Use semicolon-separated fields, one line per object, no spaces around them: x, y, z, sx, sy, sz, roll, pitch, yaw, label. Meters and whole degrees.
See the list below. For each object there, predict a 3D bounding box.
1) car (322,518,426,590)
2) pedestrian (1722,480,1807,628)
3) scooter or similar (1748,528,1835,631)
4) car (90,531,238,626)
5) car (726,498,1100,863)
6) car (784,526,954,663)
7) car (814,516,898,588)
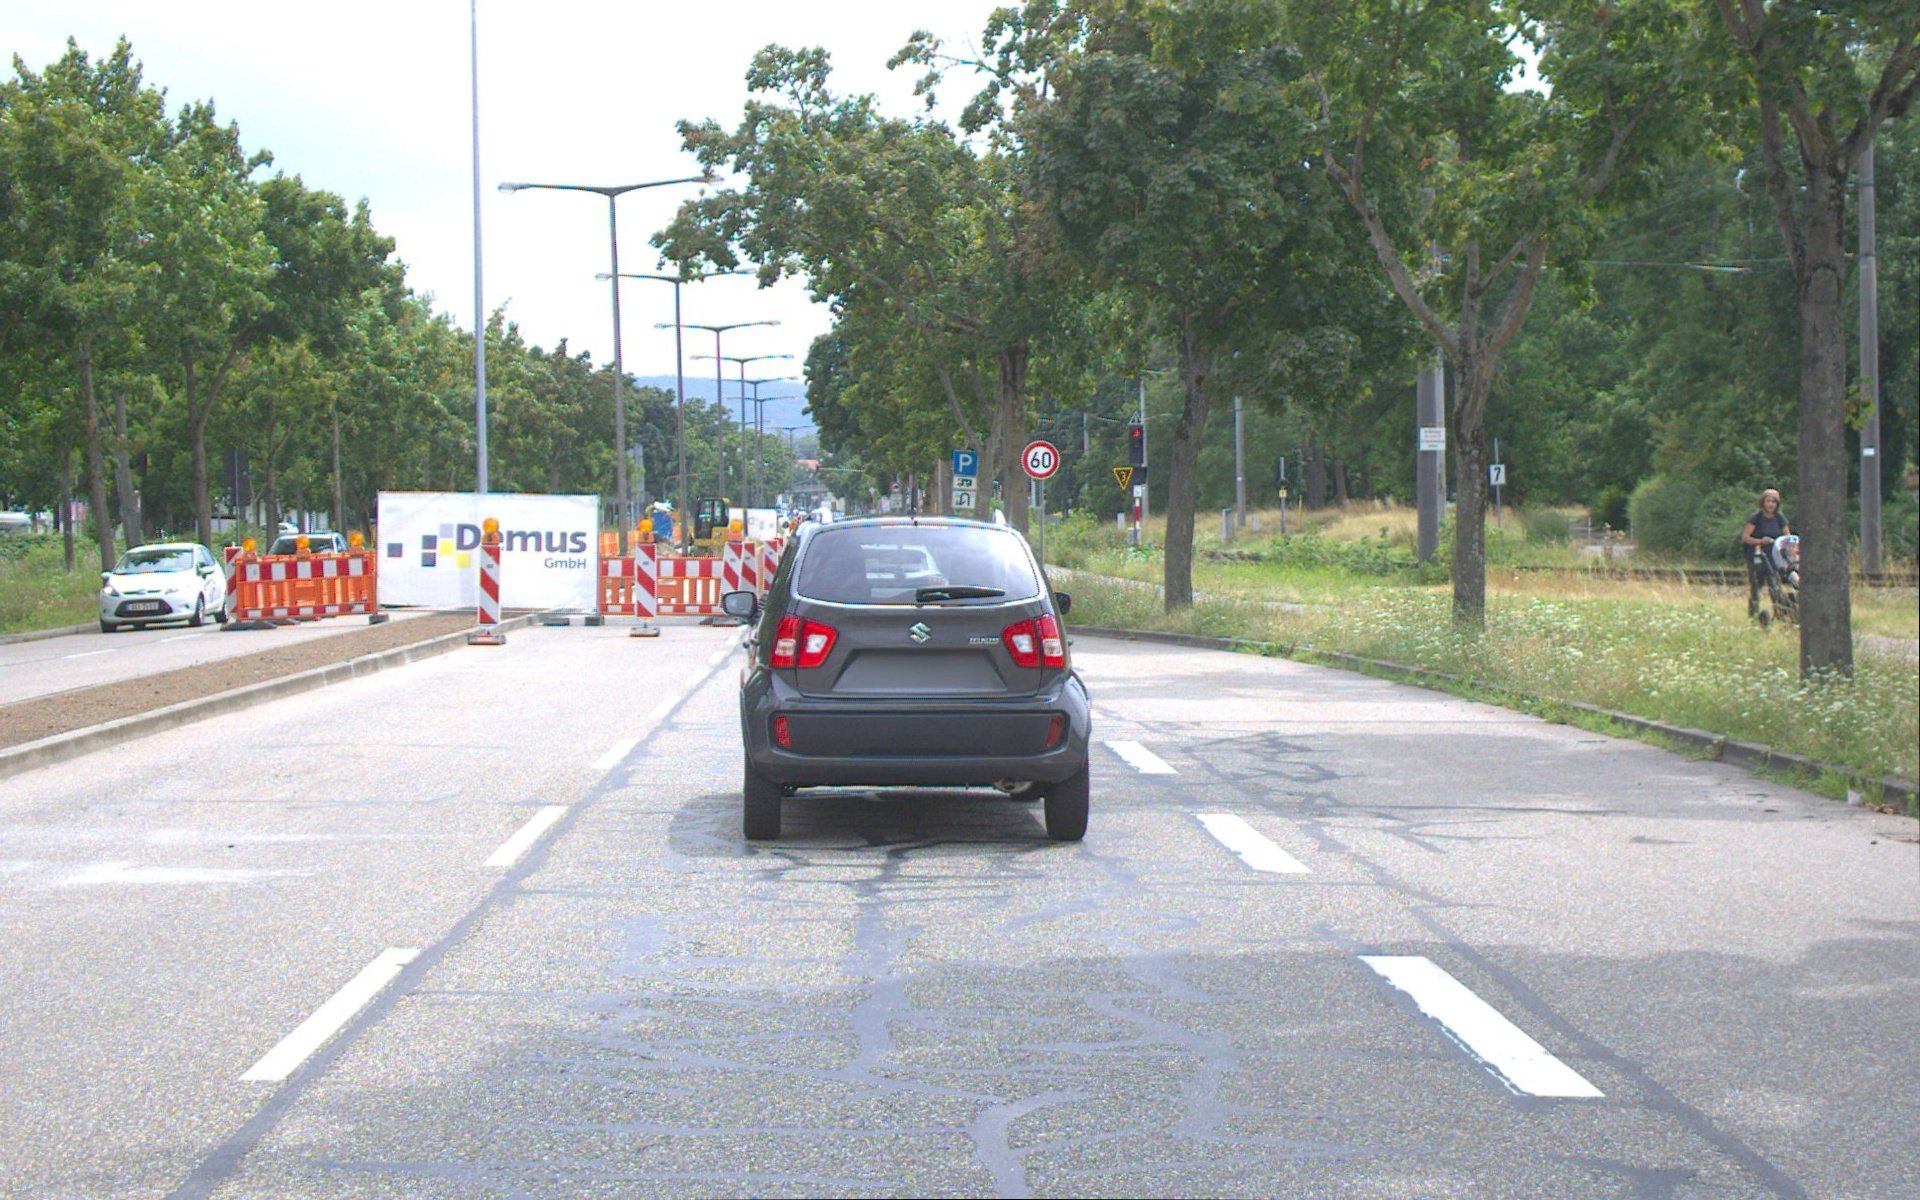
-12.957;-1.042;76.204;1.703;1.472;4.001;-2;2;-2;car
9.299;-0.539;39.772;0.690;1.689;0.934;-1;2;-6;pedestrian
9.396;-0.239;38.847;0.681;1.126;0.934;-1;2;-6;scooter or similar
-13.678;-0.400;59.265;1.690;1.472;4.001;-2;2;-2;car
-0.300;0.307;17.724;1.703;1.662;4.001;0;2;-2;car
-1.109;-0.105;40.152;1.766;1.459;4.001;-1;2;-4;car
-2.356;-1.125;78.659;1.793;1.556;4.000;0;2;0;car
